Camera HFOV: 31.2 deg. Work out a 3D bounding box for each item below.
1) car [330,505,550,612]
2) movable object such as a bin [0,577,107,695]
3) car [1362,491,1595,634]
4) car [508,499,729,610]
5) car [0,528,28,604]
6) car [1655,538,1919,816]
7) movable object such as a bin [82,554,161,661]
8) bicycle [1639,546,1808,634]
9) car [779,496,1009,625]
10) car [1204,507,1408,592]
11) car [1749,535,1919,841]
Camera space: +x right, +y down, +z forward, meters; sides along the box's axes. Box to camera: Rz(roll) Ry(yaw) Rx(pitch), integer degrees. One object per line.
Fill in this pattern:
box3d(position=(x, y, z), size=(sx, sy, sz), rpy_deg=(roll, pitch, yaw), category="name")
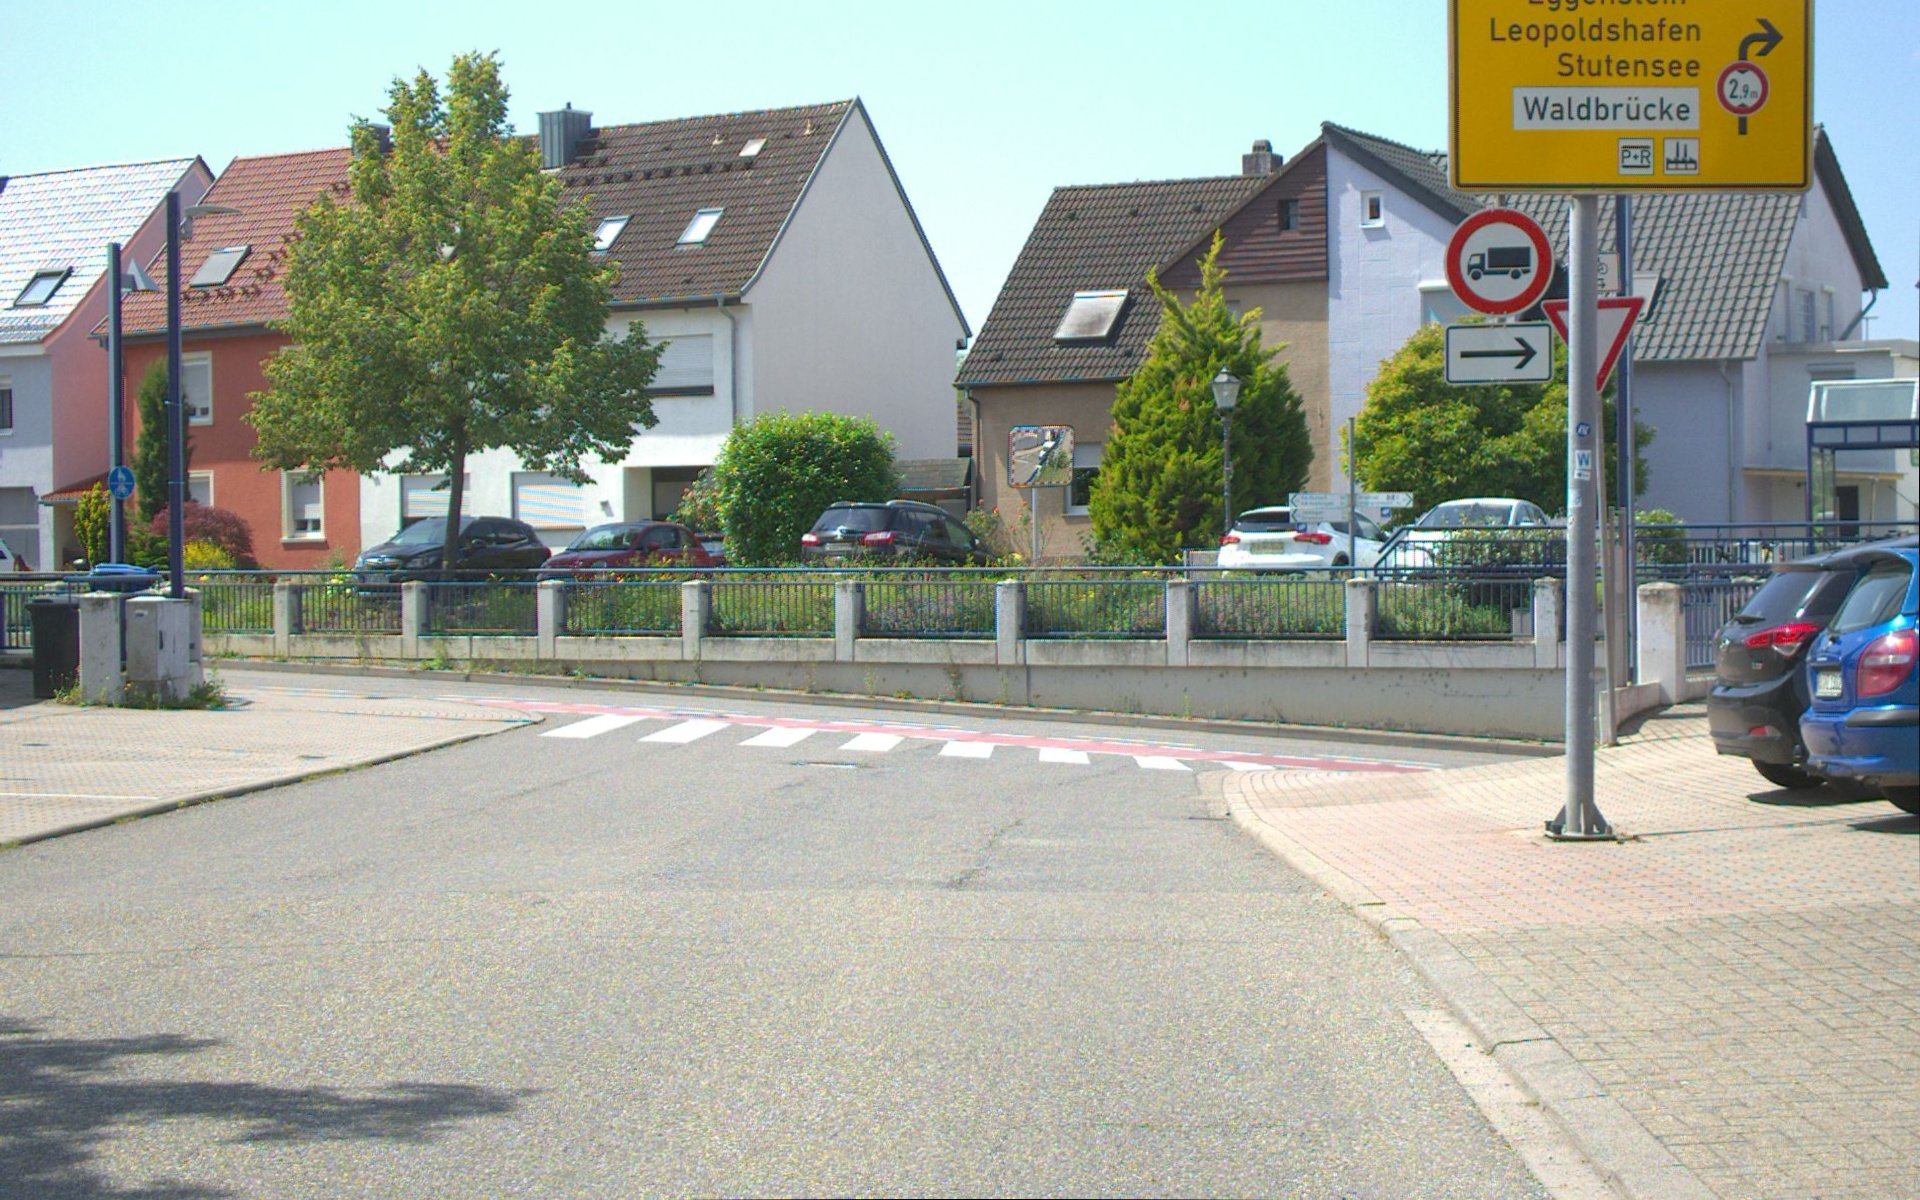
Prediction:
box3d(position=(-8.808, -0.691, 58.468), size=(1.870, 1.581, 3.604), rpy_deg=(4, 0, 27), category="car")
box3d(position=(-9.618, 0.375, 36.454), size=(0.885, 1.221, 0.902), rpy_deg=(1, 0, 2), category="movable object such as a bin")
box3d(position=(7.527, -0.506, 49.559), size=(1.997, 1.791, 4.190), rpy_deg=(4, 0, 27), category="car")
box3d(position=(-5.568, -0.721, 56.413), size=(1.870, 1.581, 3.604), rpy_deg=(4, 0, 27), category="car")
box3d(position=(-20.627, -0.779, 67.638), size=(1.745, 1.483, 4.248), rpy_deg=(4, 1, 33), category="car")
box3d(position=(6.369, 0.316, 20.571), size=(3.895, 1.485, 1.810), rpy_deg=(-6, -1, -2), category="car")
box3d(position=(-9.701, 0.085, 39.820), size=(0.839, 1.209, 1.277), rpy_deg=(1, 0, -12), category="movable object such as a bin")
box3d(position=(9.951, -0.139, 44.852), size=(2.117, 1.122, 0.332), rpy_deg=(1, 1, 21), category="bicycle")
box3d(position=(-1.000, -0.603, 54.372), size=(1.870, 1.791, 3.994), rpy_deg=(4, 0, 27), category="car")
box3d(position=(5.135, -0.732, 50.694), size=(1.828, 1.016, 3.454), rpy_deg=(4, 1, 27), category="car")
box3d(position=(6.386, 0.319, 17.304), size=(4.322, 1.435, 1.780), rpy_deg=(-4, -2, -1), category="car")
